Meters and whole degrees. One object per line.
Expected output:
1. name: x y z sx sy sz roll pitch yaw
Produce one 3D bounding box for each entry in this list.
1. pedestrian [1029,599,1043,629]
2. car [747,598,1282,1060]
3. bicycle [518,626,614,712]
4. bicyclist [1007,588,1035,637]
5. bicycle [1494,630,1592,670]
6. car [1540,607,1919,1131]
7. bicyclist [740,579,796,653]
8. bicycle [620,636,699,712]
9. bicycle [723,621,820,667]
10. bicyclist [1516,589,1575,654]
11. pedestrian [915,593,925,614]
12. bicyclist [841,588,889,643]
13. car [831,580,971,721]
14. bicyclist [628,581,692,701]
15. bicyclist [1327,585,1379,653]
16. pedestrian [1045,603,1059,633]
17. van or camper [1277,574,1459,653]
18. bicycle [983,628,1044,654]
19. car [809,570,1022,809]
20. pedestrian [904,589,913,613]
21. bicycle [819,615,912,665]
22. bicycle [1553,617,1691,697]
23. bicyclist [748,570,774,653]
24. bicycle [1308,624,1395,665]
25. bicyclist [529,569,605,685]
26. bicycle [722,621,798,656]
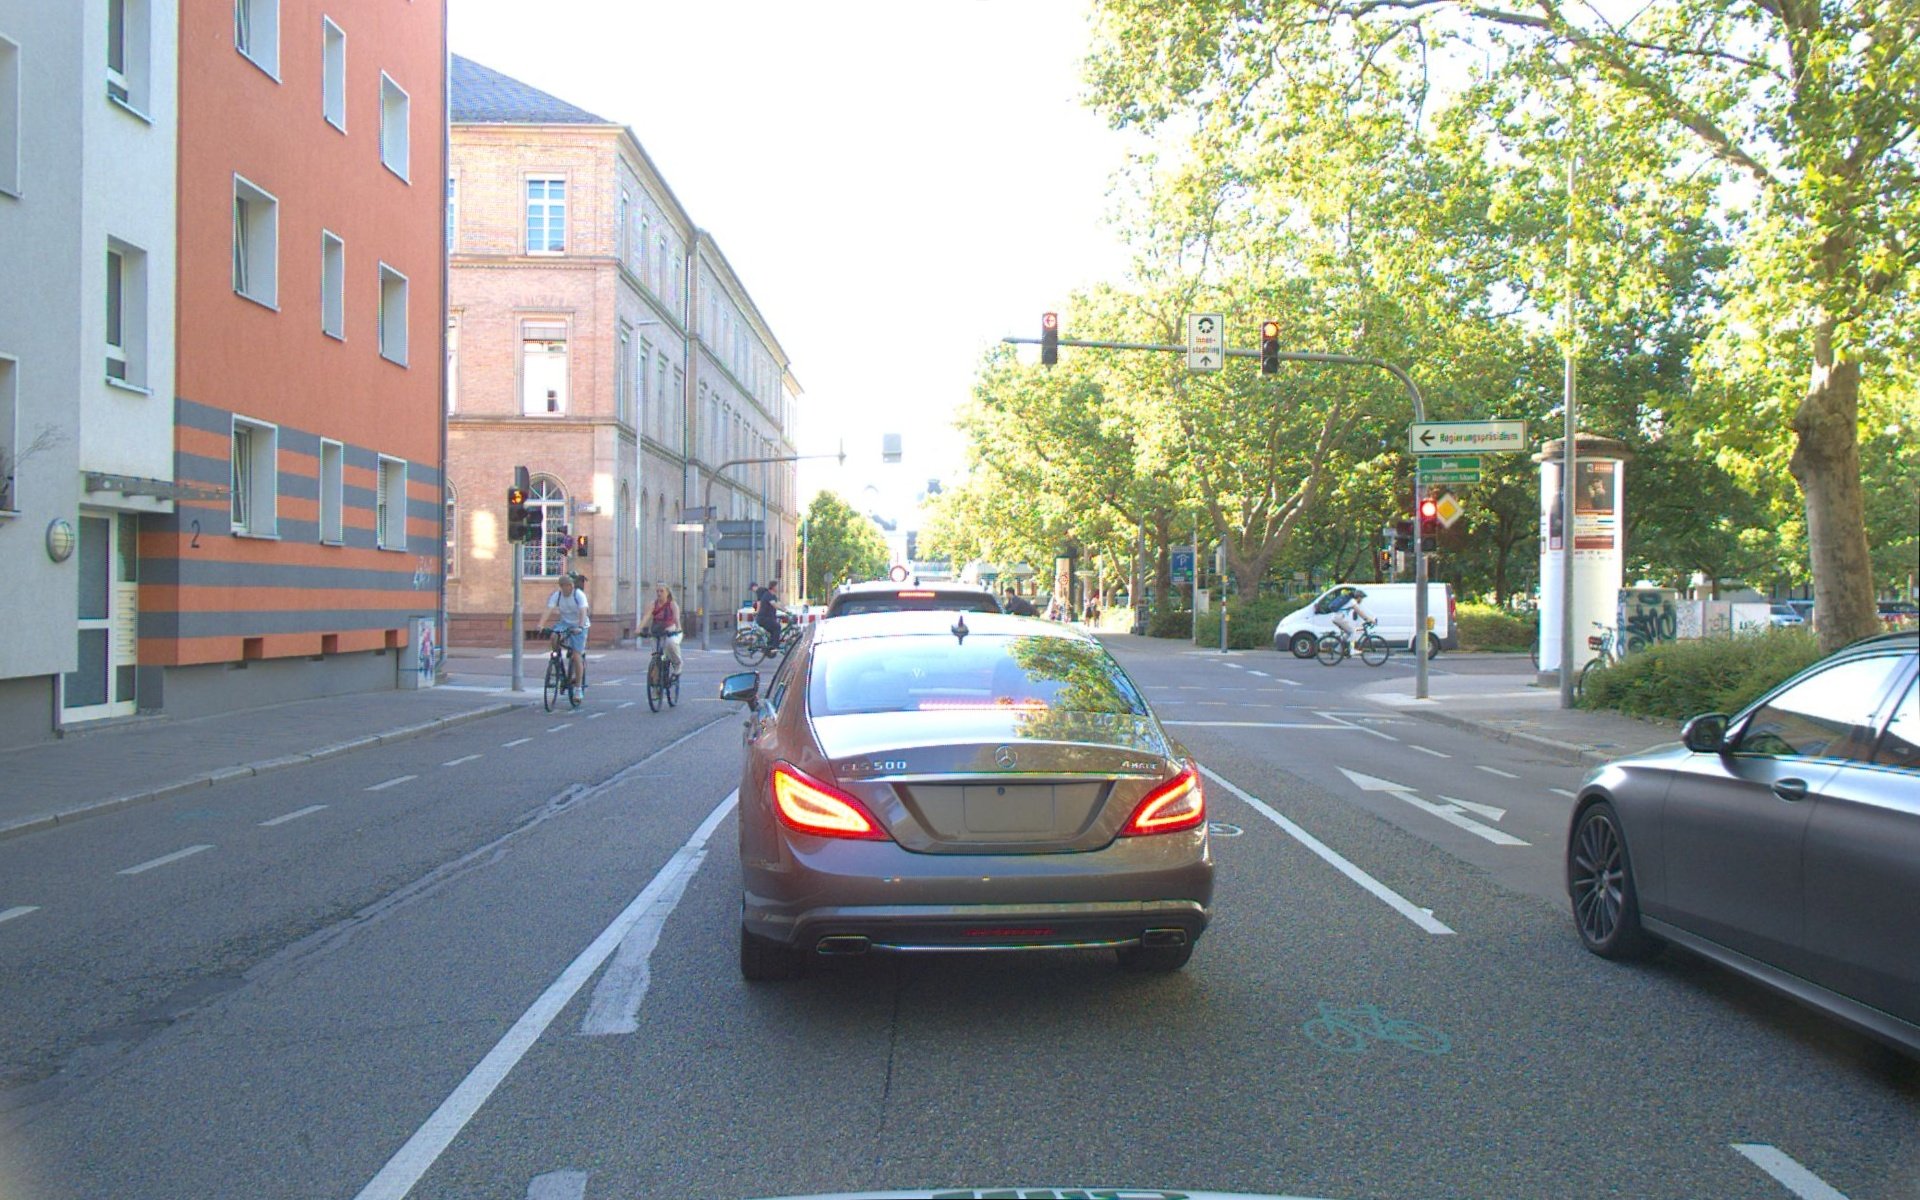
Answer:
1. pedestrian: 3.796 0.692 82.355 0.635 1.529 0.637 0 0 -1
2. car: -0.074 0.746 7.644 1.769 1.482 4.343 0 0 -8
3. bicycle: -5.448 0.933 22.992 0.845 1.097 1.837 0 0 1
4. bicyclist: 1.587 0.322 43.031 0.689 1.282 0.458 0 0 3
5. bicycle: 12.854 1.099 36.479 1.933 0.851 0.677 0 0 2
6. car: 3.714 0.811 5.461 1.874 1.490 4.668 1 0 -1
7. bicyclist: -3.998 0.336 34.553 1.094 1.516 0.711 0 0 -2
8. bicycle: -4.102 0.992 22.694 0.679 0.945 1.864 0 0 2
9. bicycle: -3.927 0.914 34.562 1.946 0.919 0.733 0 0 -1
10. bicyclist: 12.910 0.471 36.480 1.080 1.427 0.658 0 0 1
11. pedestrian: -3.105 0.239 127.813 0.785 1.604 0.844 0 0 -1
12. bicyclist: -2.049 0.326 35.703 0.971 1.174 0.620 0 0 1
13. car: -0.786 0.645 23.225 1.783 1.793 3.999 0 0 -1
14. bicyclist: -4.108 0.545 22.709 0.670 1.605 0.982 0 0 2
15. bicyclist: 8.974 0.426 37.776 1.052 1.546 0.717 0 0 4
16. pedestrian: 4.575 0.898 81.924 0.635 1.458 0.659 0 0 -1
17. van or camper: 10.631 0.325 43.220 4.481 1.975 2.002 0 0 14
18. bicycle: 1.391 1.056 42.930 1.554 0.646 0.496 0 0 3
19. car: -0.406 0.632 13.670 1.487 1.675 3.878 1 0 -3
20. pedestrian: -4.204 0.045 134.034 0.706 1.935 0.704 0 0 -1
21. bicycle: -2.031 0.858 35.710 1.939 1.045 0.652 0 0 1
22. bicycle: 9.511 0.809 23.796 1.766 1.116 0.510 0 0 2
23. bicyclist: -4.961 0.293 41.203 0.640 2.049 0.439 0 0 -8
24. bicycle: 8.930 1.008 37.771 1.853 0.898 0.726 0 0 3
25. bicyclist: -5.449 0.368 22.981 0.825 1.582 0.839 0 0 1
26. bicycle: -4.981 0.962 41.200 1.856 0.851 0.457 0 0 -9
